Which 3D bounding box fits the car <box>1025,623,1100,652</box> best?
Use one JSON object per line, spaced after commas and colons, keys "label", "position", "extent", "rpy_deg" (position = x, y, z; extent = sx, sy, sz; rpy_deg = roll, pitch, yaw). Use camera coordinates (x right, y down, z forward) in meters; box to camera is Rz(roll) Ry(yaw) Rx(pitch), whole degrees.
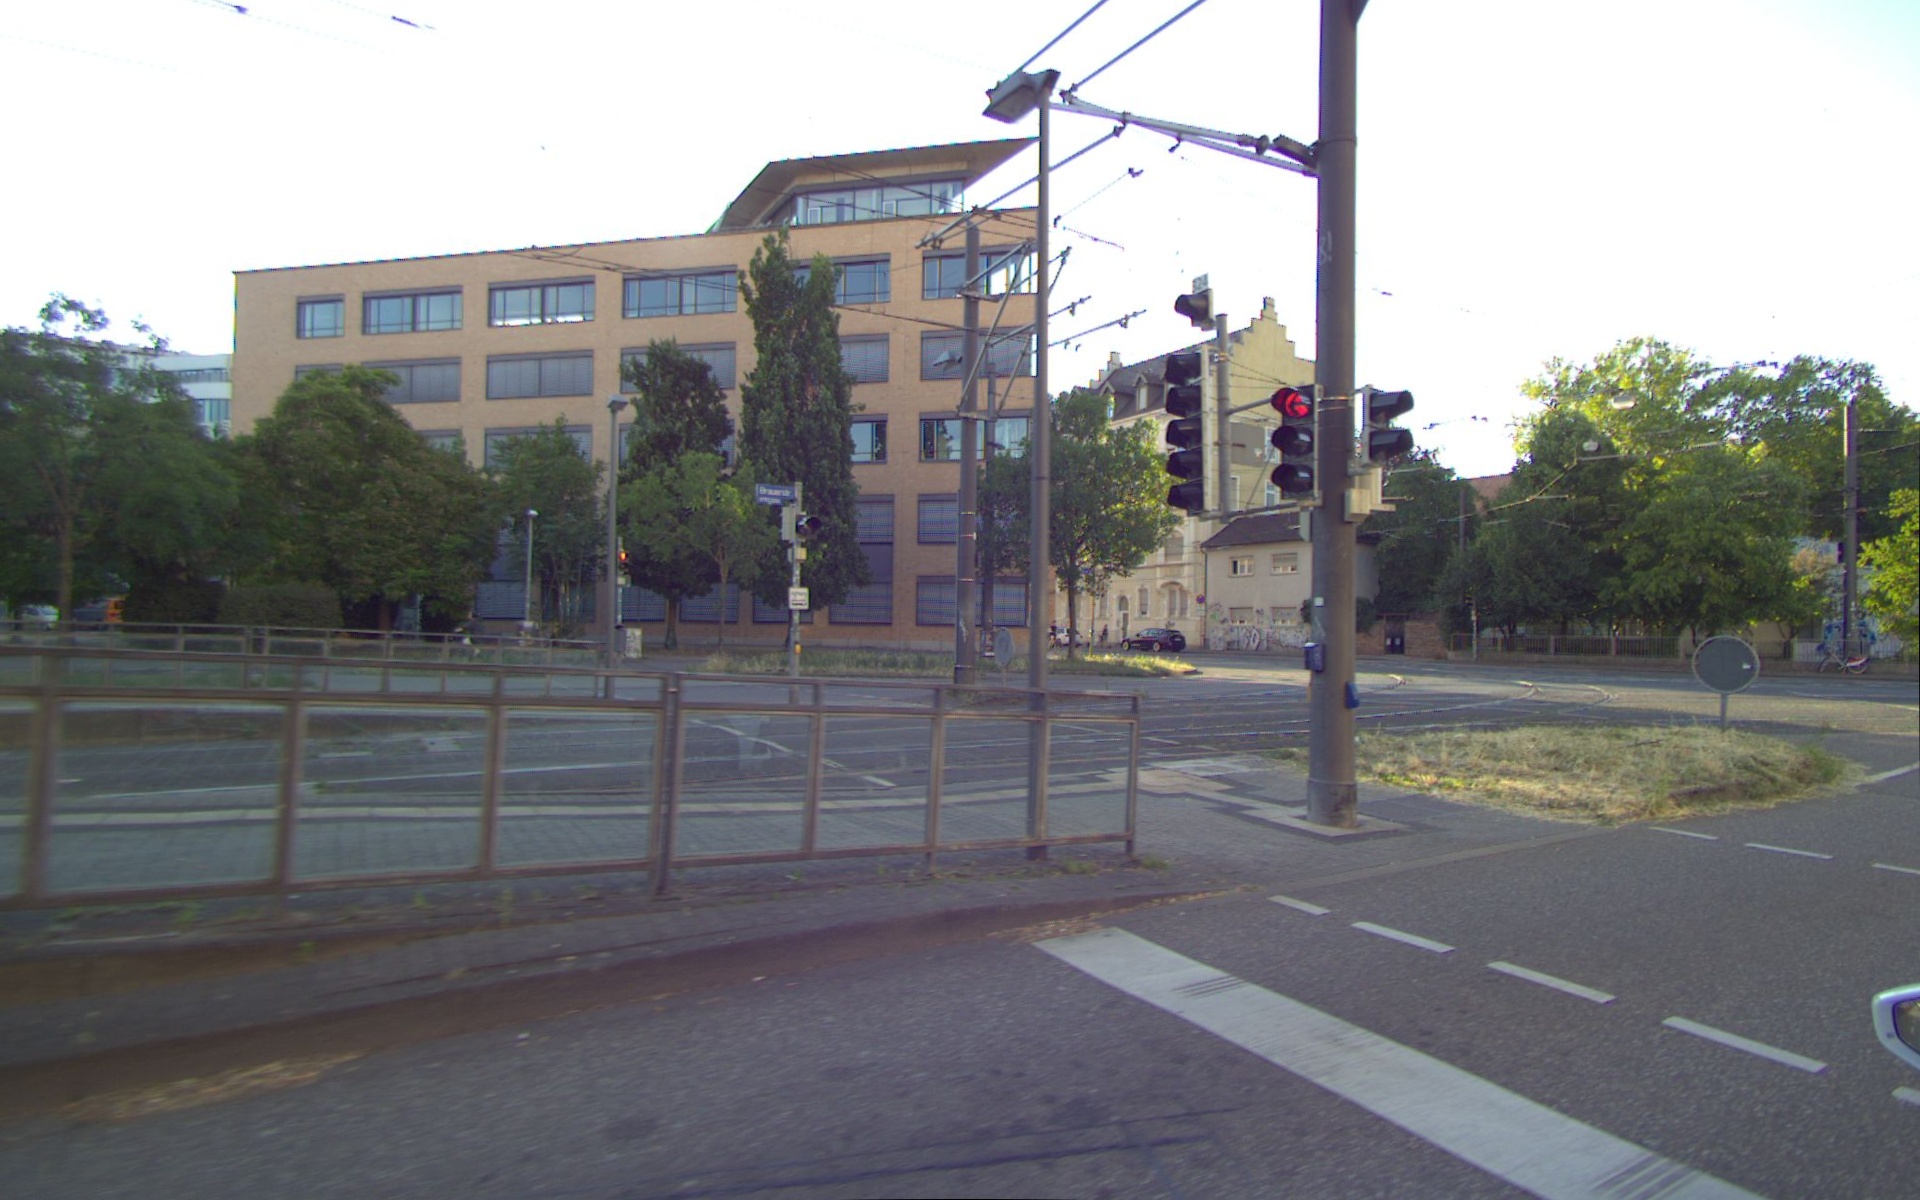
{"label": "car", "position": [5.546, 2.030, 54.807], "extent": [1.980, 1.505, 3.962], "rpy_deg": [1, -2, -34]}

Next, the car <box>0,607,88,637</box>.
{"label": "car", "position": [-52.405, 1.231, 57.092], "extent": [3.920, 1.625, 2.001], "rpy_deg": [1, -1, 2]}

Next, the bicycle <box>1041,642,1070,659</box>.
{"label": "bicycle", "position": [4.913, 2.606, 51.771], "extent": [0.651, 0.844, 1.678], "rpy_deg": [1, -2, -30]}

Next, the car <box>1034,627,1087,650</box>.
{"label": "car", "position": [7.071, 2.713, 70.941], "extent": [1.822, 1.505, 3.970], "rpy_deg": [1, -1, -29]}

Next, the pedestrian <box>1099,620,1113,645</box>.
{"label": "pedestrian", "position": [10.231, 2.267, 70.417], "extent": [0.579, 1.728, 0.711], "rpy_deg": [1, -1, -32]}

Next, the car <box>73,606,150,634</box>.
{"label": "car", "position": [-50.748, 1.175, 60.106], "extent": [3.924, 1.625, 1.999], "rpy_deg": [0, -1, 24]}

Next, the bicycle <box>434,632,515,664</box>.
{"label": "bicycle", "position": [-13.241, 1.297, 27.407], "extent": [1.942, 0.832, 0.771], "rpy_deg": [2, -1, -29]}

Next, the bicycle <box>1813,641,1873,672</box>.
{"label": "bicycle", "position": [34.434, 2.202, 39.195], "extent": [1.688, 1.157, 0.559], "rpy_deg": [0, -1, 17]}

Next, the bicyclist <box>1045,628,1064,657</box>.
{"label": "bicyclist", "position": [4.896, 2.175, 51.824], "extent": [0.660, 1.472, 0.737], "rpy_deg": [1, -1, -31]}

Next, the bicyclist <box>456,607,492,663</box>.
{"label": "bicyclist", "position": [-13.255, 0.942, 27.390], "extent": [0.817, 1.487, 0.765], "rpy_deg": [1, -1, -29]}

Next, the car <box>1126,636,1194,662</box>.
{"label": "car", "position": [12.326, 3.004, 62.177], "extent": [1.978, 1.505, 3.966], "rpy_deg": [1, -1, -31]}
